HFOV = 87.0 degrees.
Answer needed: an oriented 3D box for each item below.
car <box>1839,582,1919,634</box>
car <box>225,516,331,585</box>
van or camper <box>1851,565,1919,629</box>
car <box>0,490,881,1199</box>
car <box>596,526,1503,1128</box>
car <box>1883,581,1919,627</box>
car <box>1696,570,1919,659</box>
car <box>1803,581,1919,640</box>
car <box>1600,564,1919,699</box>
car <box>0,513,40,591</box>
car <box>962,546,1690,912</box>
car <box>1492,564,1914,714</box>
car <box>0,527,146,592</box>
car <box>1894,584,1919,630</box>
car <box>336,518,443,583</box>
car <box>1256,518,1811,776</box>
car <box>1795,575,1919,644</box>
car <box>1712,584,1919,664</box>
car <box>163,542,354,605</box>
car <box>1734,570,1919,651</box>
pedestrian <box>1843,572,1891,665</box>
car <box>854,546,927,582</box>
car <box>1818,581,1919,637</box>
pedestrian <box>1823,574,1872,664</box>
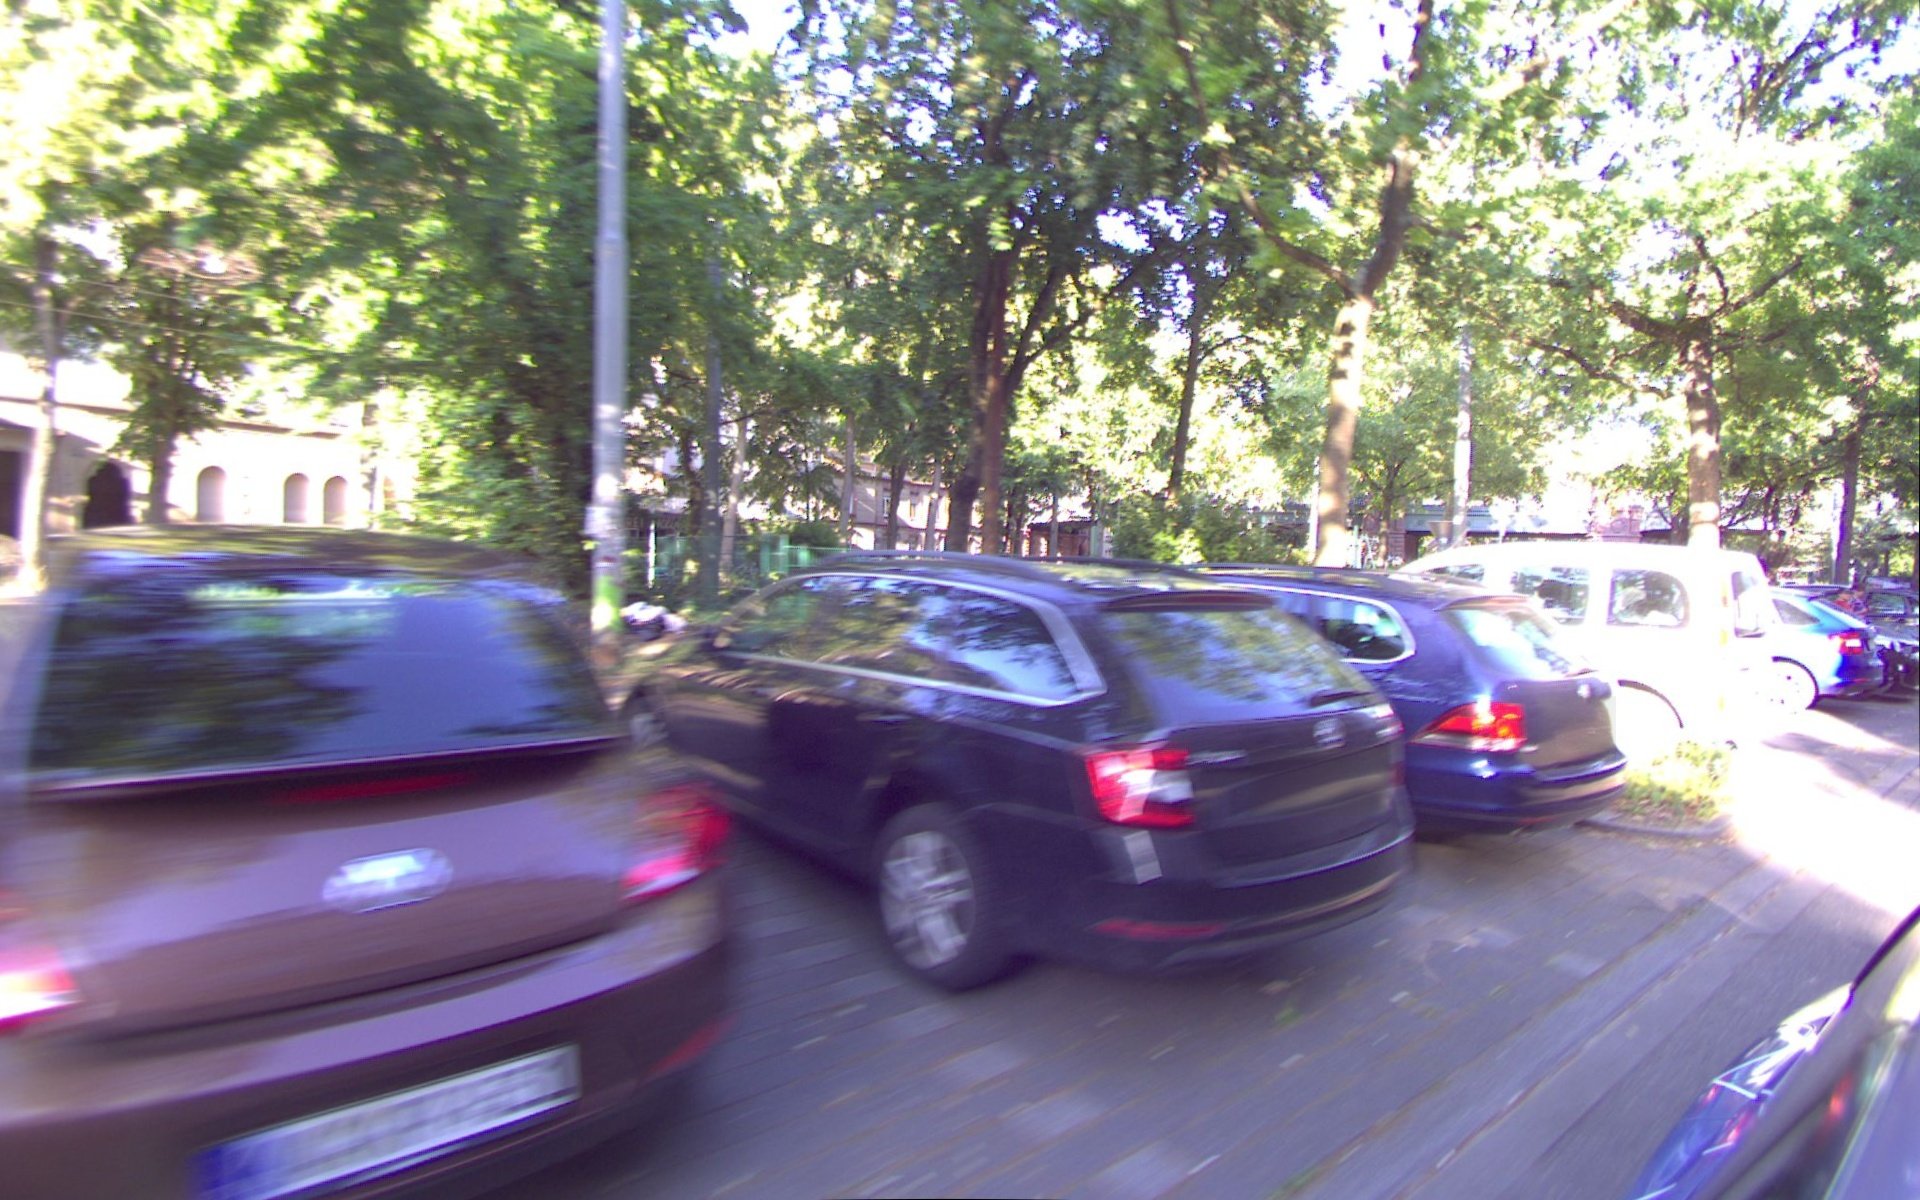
[{"bbox_3d":[29.679,0.285,30.625,1.805,1.457,4.409,-1,4,-40],"label":"car"},{"bbox_3d":[-18.338,-1.294,27.149,1.965,1.704,3.996,-2,3,-39],"label":"car"},{"bbox_3d":[33.017,-0.005,33.128,1.992,2.052,5.431,1,3,-37],"label":"van or camper"},{"bbox_3d":[-2.142,0.445,3.251,1.825,1.478,3.999,0,4,-38],"label":"car"},{"bbox_3d":[-0.078,0.455,4.783,1.831,1.470,4.233,0,4,-38],"label":"car"},{"bbox_3d":[34.681,0.224,34.636,1.807,1.518,4.407,-2,5,-42],"label":"car"},{"bbox_3d":[18.356,0.241,21.243,1.808,1.610,4.404,-1,4,-44],"label":"car"},{"bbox_3d":[26.051,0.309,27.555,1.804,1.457,4.414,-1,4,-37],"label":"car"},{"bbox_3d":[11.546,0.338,14.412,1.730,1.519,3.686,0,4,-38],"label":"car"},{"bbox_3d":[-21.946,-1.022,21.634,1.958,1.704,4.009,-1,2,-20],"label":"car"},{"bbox_3d":[1.911,0.468,6.566,1.617,1.470,4.236,0,4,-35],"label":"car"},{"bbox_3d":[9.438,0.364,13.127,1.731,1.460,4.089,-1,4,-42],"label":"car"},{"bbox_3d":[-25.678,-1.111,27.907,1.988,1.707,4.679,1,3,36],"label":"car"},{"bbox_3d":[36.212,0.361,35.790,1.634,1.596,4.414,-2,4,-37],"label":"car"},{"bbox_3d":[-16.324,-1.392,28.883,1.965,1.704,3.996,-2,3,-39],"label":"car"},{"bbox_3d":[5.195,0.218,9.734,1.730,1.886,4.233,0,4,-38],"label":"car"},{"bbox_3d":[24.155,0.246,25.592,1.805,1.610,4.410,-1,4,-40],"label":"car"},{"bbox_3d":[16.936,0.418,19.318,1.661,1.294,3.852,0,3,-40],"label":"car"},{"bbox_3d":[-22.495,-0.897,32.643,1.988,1.849,4.679,1,3,36],"label":"car"},{"bbox_3d":[20.404,0.195,22.773,1.804,1.610,4.412,-1,4,-38],"label":"car"},{"bbox_3d":[16.012,0.322,17.864,0.508,1.605,0.382,3,0,-20],"label":"pedestrian"},{"bbox_3d":[-3.998,-2.120,58.896,1.983,2.038,4.692,0,2,29],"label":"car"},{"bbox_3d":[27.836,0.292,29.156,1.804,1.457,4.414,-1,4,-37],"label":"car"},{"bbox_3d":[15.490,0.322,17.666,0.508,1.536,0.382,3,0,-20],"label":"pedestrian"}]
